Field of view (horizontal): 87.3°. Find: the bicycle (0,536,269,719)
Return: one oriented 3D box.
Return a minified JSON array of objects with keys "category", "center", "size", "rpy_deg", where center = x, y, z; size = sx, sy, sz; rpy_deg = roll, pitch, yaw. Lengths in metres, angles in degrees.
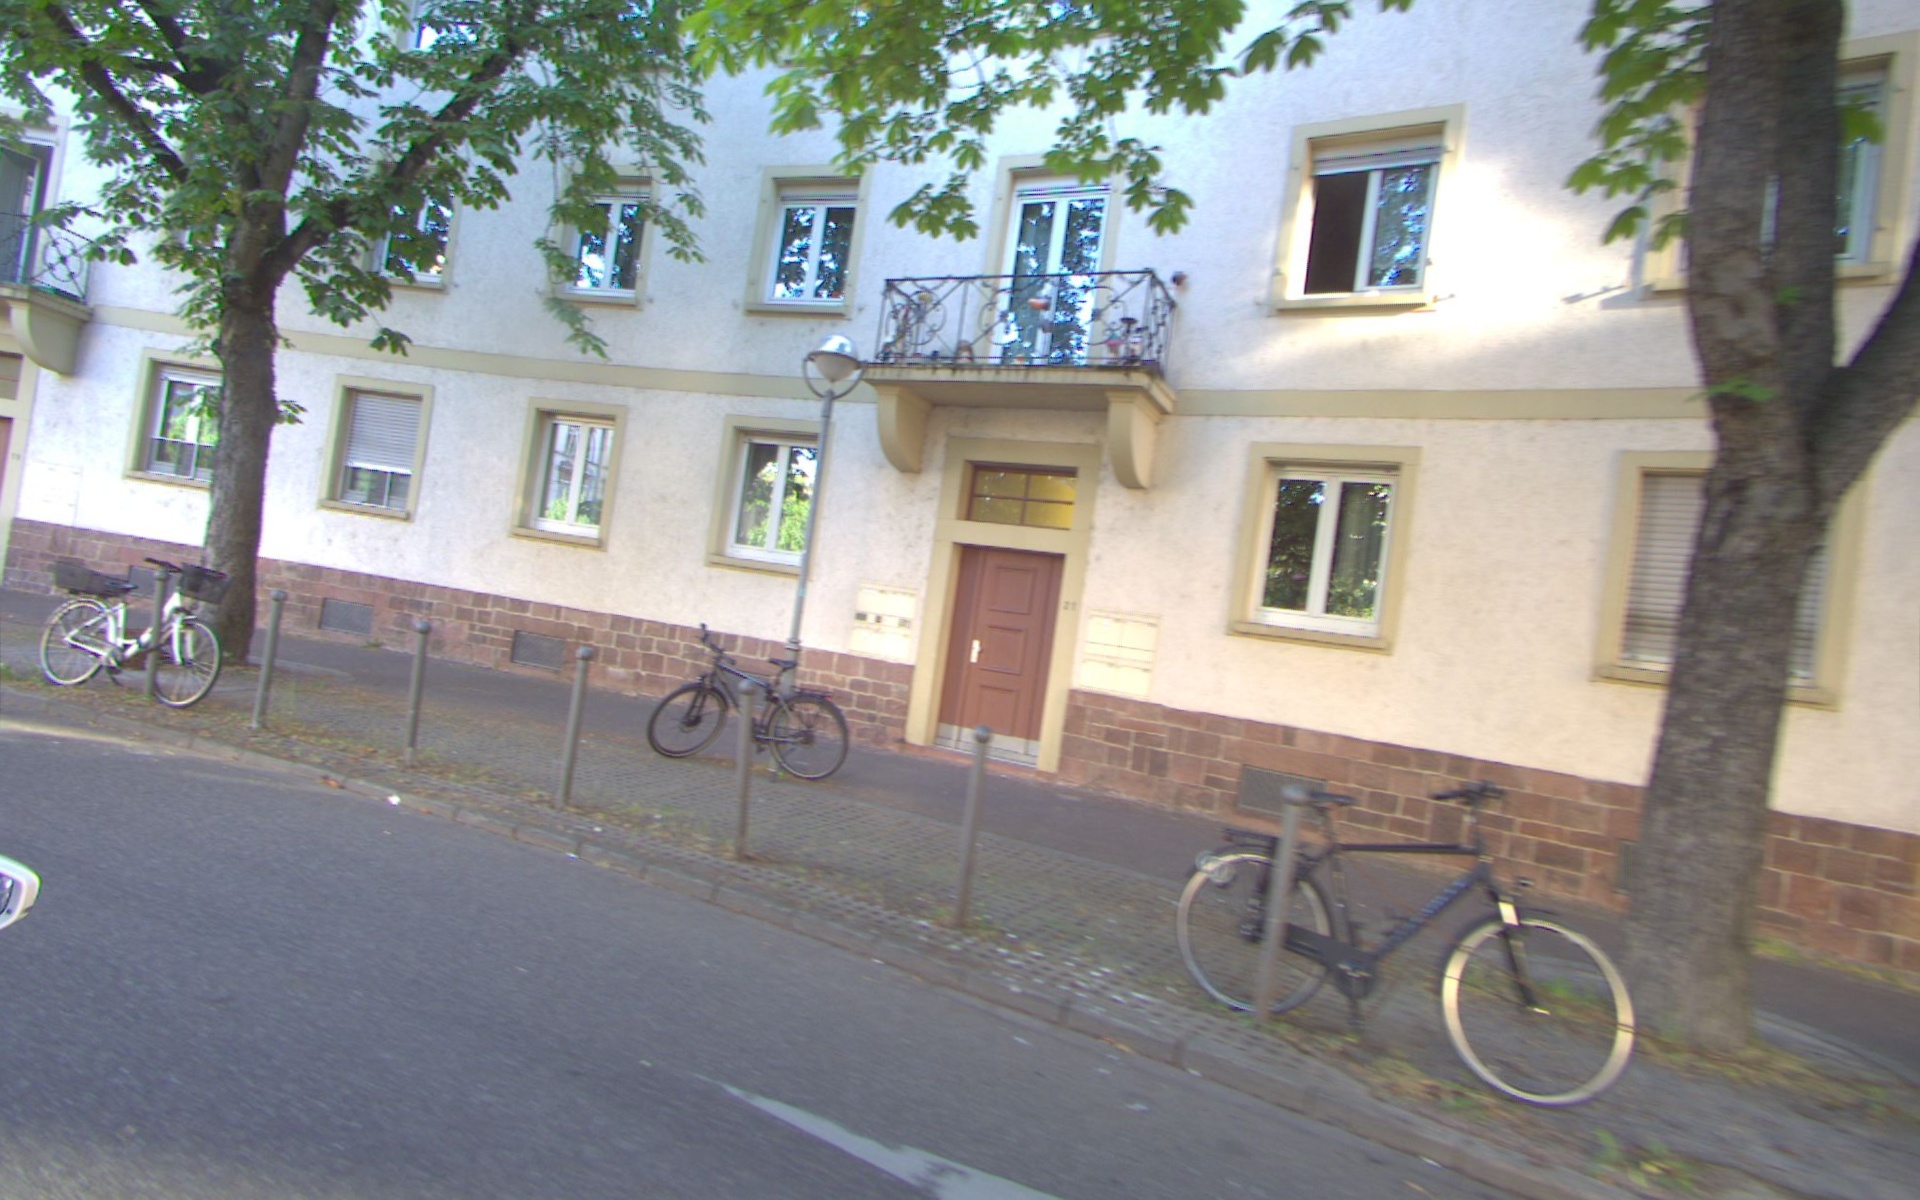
[{"category":"bicycle","center":[-6.636,0.200,8.005],"size":[1.954,1.127,0.618],"rpy_deg":[8,2,12]}]

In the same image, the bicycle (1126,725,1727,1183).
[{"category":"bicycle","center":[1.793,1.265,4.117],"size":[1.968,1.172,0.680],"rpy_deg":[7,-1,32]}]

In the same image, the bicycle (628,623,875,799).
[{"category":"bicycle","center":[-1.705,0.894,8.391],"size":[1.788,1.197,0.673],"rpy_deg":[7,1,3]}]
